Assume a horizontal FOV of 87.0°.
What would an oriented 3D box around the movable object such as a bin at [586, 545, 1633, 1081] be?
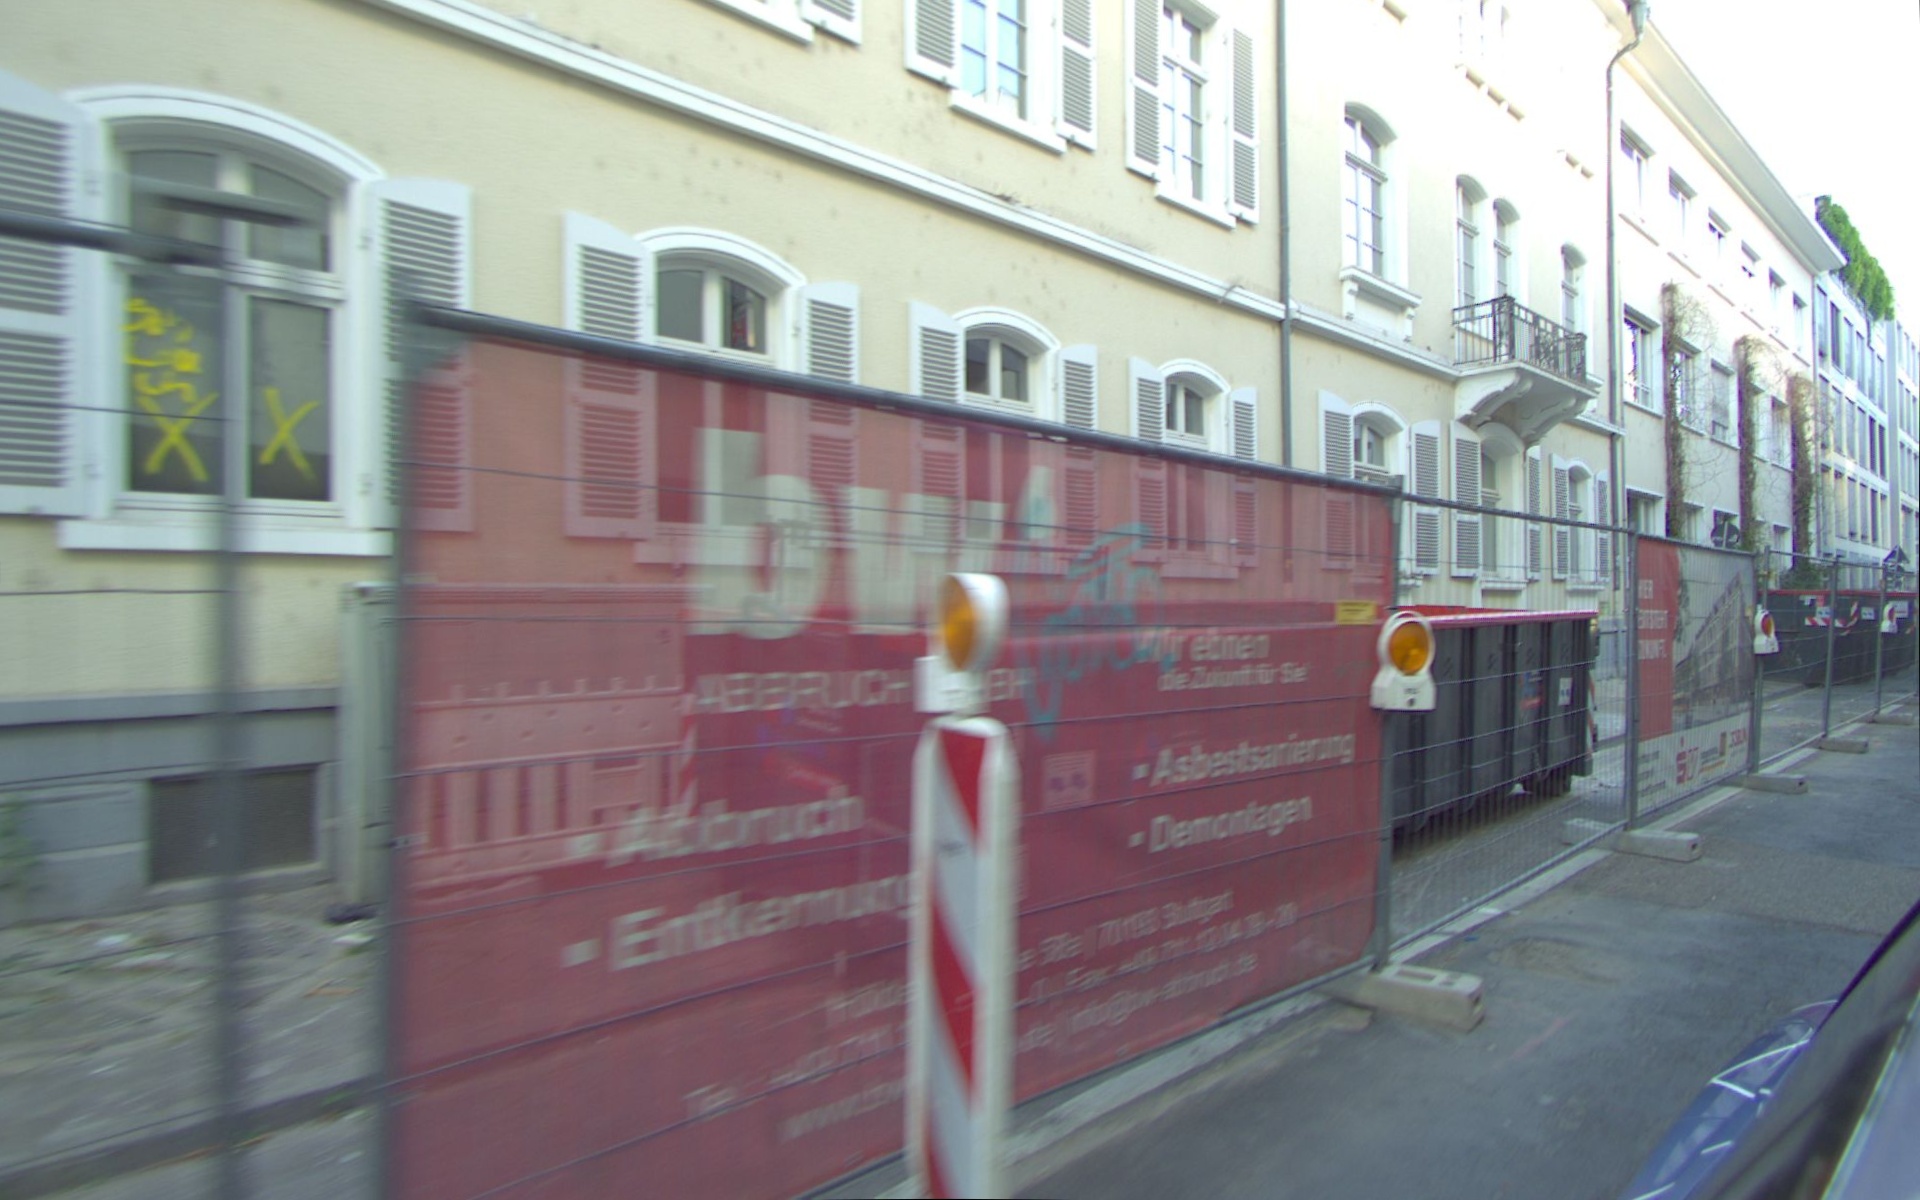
[{"bbox_3d":[1.735,0.660,6.668,7.423,1.659,2.739,0,-1,-42],"label":"movable object such as a bin"}]
